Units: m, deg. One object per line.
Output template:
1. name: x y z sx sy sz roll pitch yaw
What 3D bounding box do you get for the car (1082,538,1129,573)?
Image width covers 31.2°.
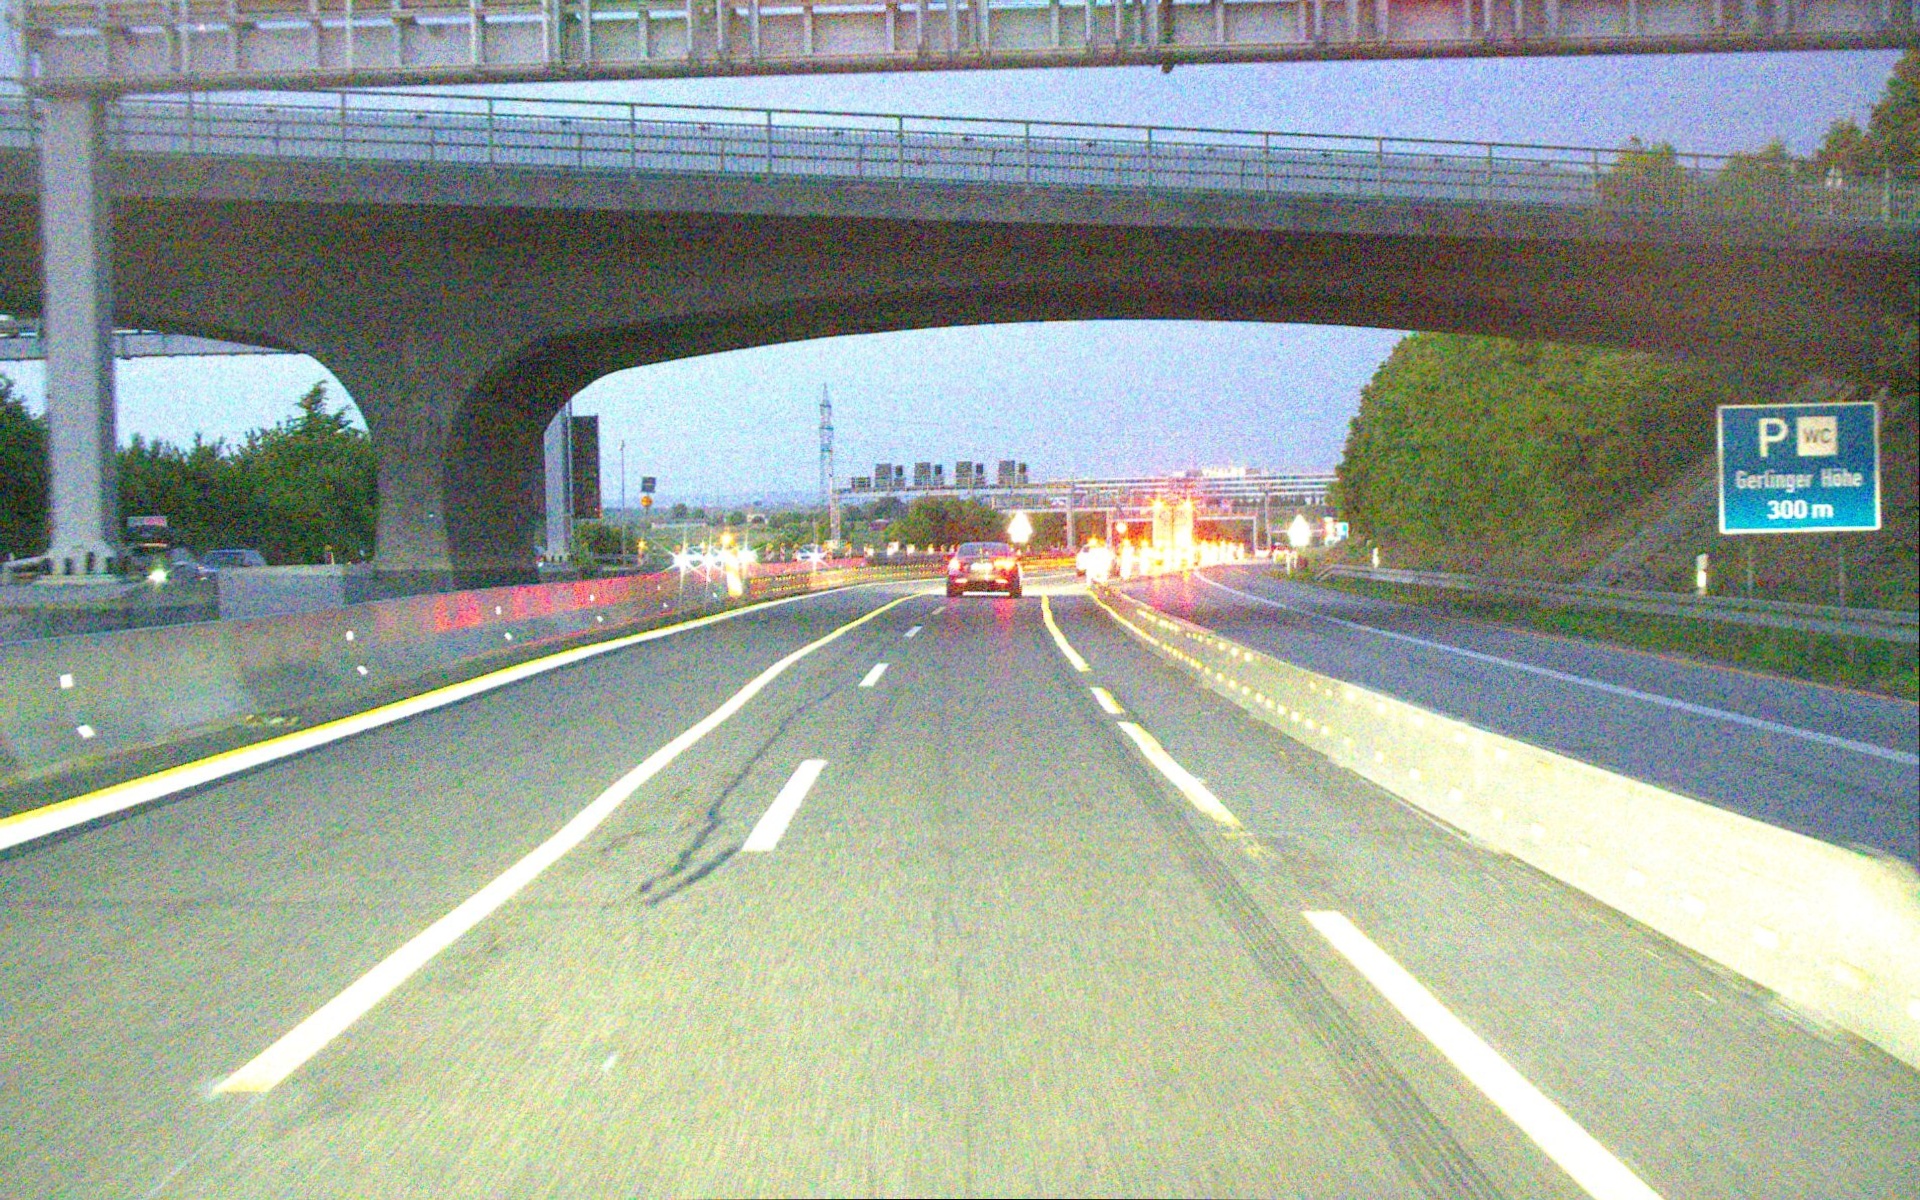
1. car: 6.318 -1.919 148.818 1.972 1.432 4.000 1 1 3

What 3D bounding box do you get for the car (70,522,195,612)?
1. car: -21.010 -0.841 87.446 1.993 2.182 4.802 1 1 0

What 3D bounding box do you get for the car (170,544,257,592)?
1. car: -23.222 -1.006 107.050 1.993 1.415 4.001 -1 1 -3

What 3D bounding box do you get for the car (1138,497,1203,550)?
1. car: 13.915 -5.060 228.079 3.605 3.384 8.015 1 1 -1

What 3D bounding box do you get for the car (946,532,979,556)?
1. car: 0.180 -4.146 254.781 1.994 1.708 3.999 1 1 6

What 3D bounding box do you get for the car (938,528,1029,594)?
1. car: 0.633 -1.014 88.889 2.265 1.616 4.000 1 1 1
